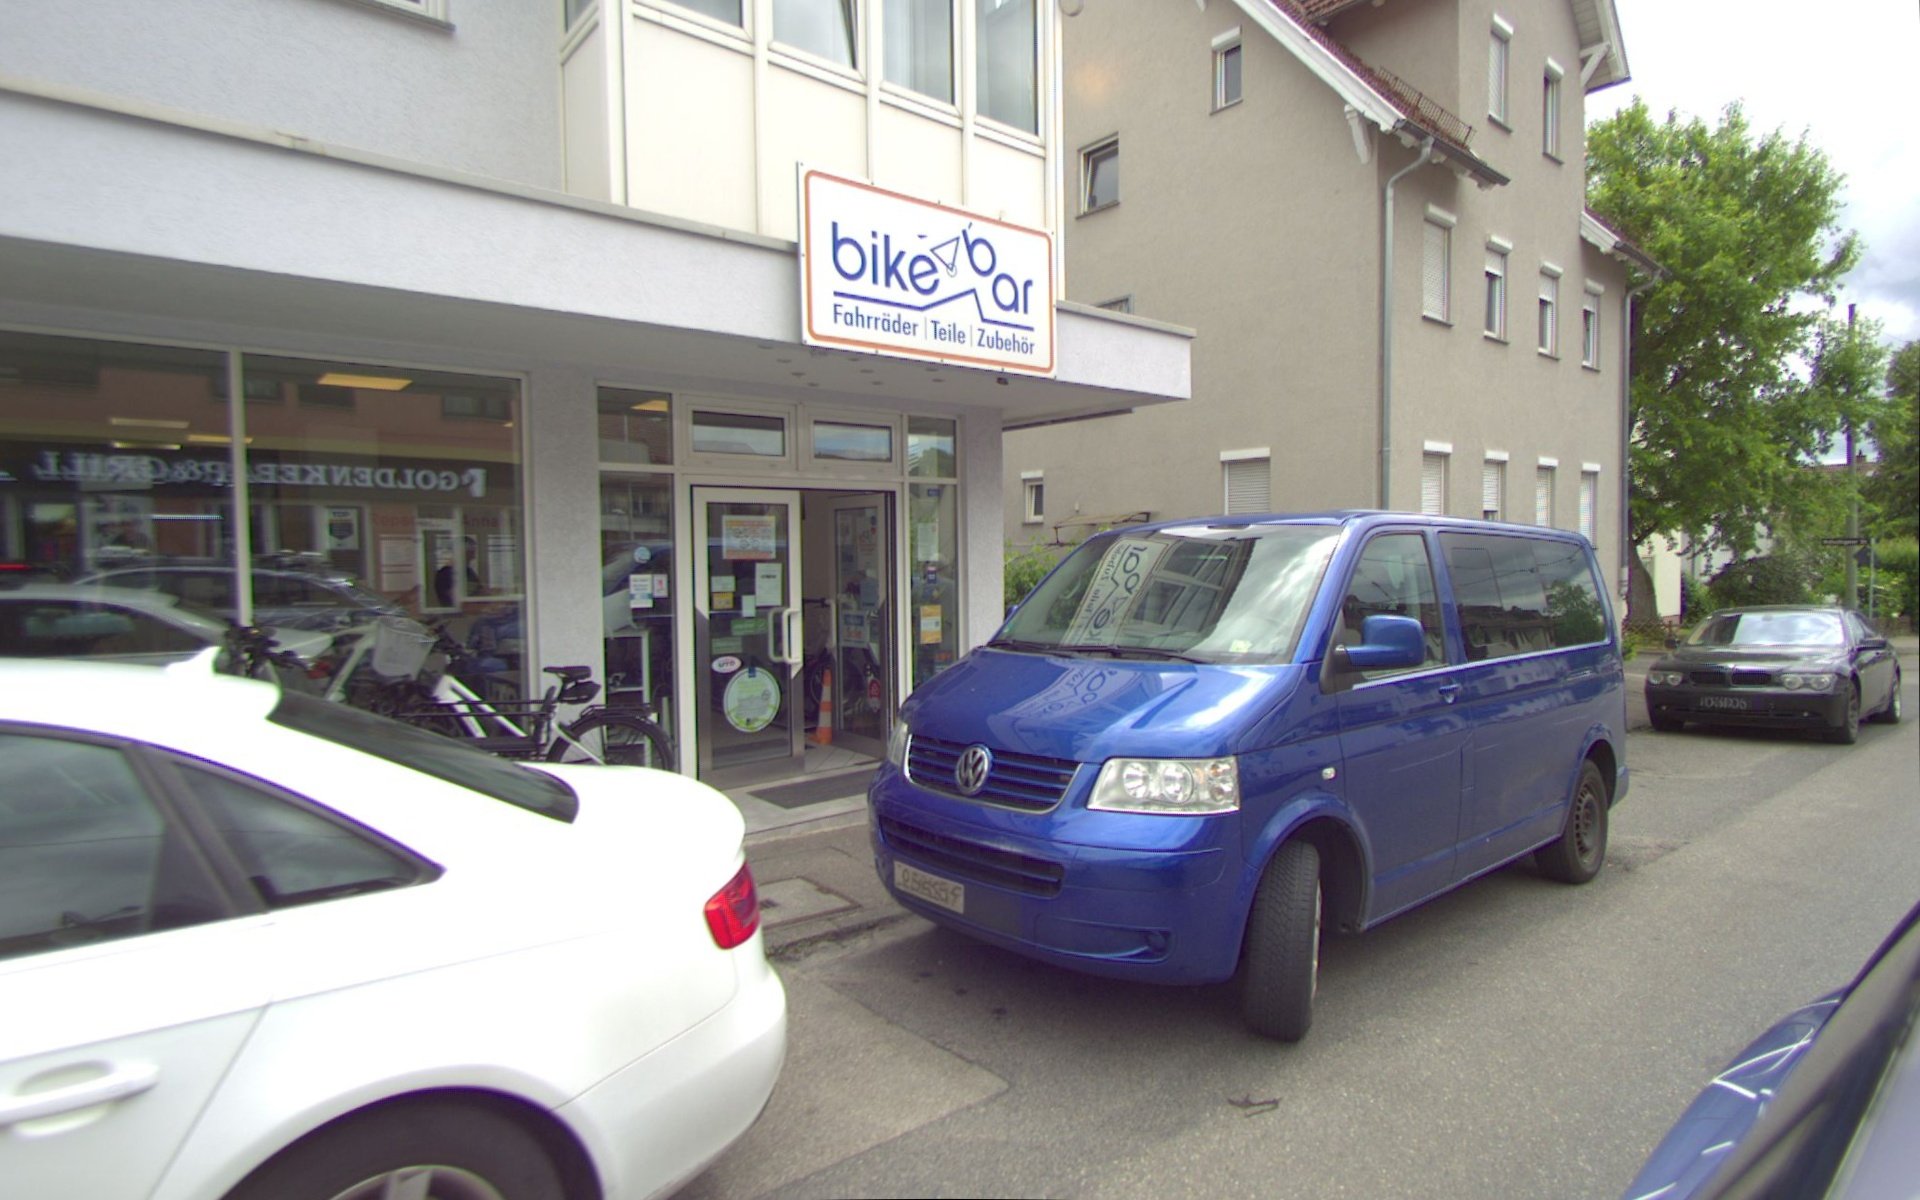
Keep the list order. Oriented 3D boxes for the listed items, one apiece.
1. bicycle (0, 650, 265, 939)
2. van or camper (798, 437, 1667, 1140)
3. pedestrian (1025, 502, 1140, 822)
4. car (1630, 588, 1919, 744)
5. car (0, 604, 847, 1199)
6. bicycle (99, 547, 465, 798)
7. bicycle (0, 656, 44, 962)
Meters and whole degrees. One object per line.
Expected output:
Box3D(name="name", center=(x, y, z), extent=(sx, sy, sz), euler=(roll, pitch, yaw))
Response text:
Box3D(name="bicycle", center=(-3.777, 0.789, 4.217), extent=(1.437, 1.127, 0.340), euler=(1, 2, -10))
Box3D(name="van or camper", center=(1.730, 0.501, 5.105), extent=(4.746, 1.950, 1.930), euler=(0, 1, -41))
Box3D(name="pedestrian", center=(0.809, 0.389, 6.846), extent=(0.607, 2.039, 0.762), euler=(0, 1, -5))
Box3D(name="car", center=(10.140, 0.640, 12.387), extent=(4.805, 1.537, 1.997), euler=(-1, 0, -40))
Box3D(name="car", center=(-2.528, 0.751, 1.441), extent=(4.558, 1.454, 1.717), euler=(0, 0, -41))
Box3D(name="bicycle", center=(-3.245, 0.326, 4.954), extent=(1.436, 1.127, 0.340), euler=(1, 2, -22))
Box3D(name="bicycle", center=(-4.324, 0.778, 3.773), extent=(1.437, 1.127, 0.251), euler=(1, 2, -10))
